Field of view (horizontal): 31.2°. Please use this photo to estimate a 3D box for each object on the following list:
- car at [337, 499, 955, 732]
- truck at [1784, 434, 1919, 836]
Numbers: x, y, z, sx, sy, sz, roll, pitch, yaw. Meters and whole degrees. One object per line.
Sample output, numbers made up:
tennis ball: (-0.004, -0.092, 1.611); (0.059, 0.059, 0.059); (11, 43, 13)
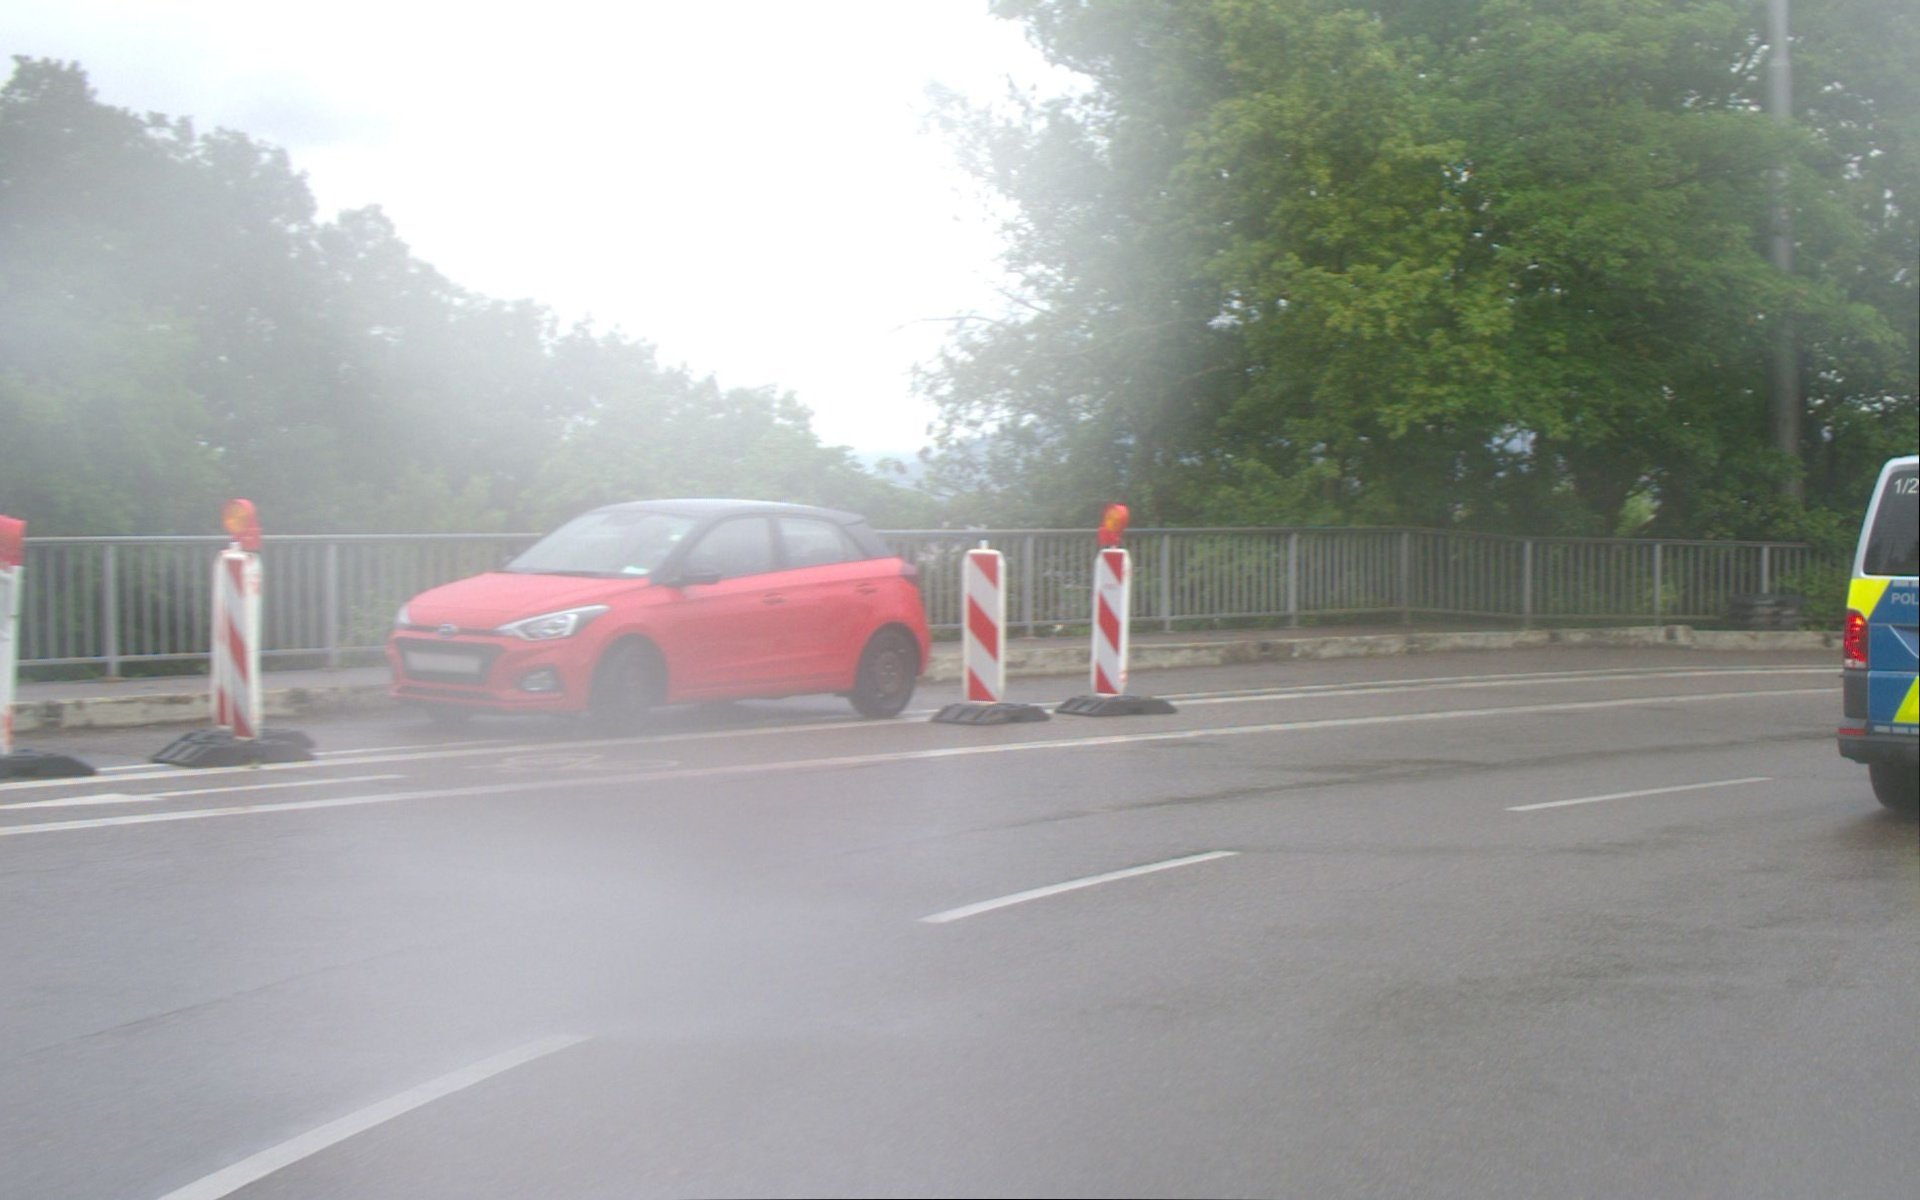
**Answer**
car: (-1.988, 0.072, 22.844); (1.689, 1.393, 4.127); (2, 1, 38)
truck: (6.428, 0.174, 18.914); (1.998, 2.007, 4.724); (2, 1, 36)
